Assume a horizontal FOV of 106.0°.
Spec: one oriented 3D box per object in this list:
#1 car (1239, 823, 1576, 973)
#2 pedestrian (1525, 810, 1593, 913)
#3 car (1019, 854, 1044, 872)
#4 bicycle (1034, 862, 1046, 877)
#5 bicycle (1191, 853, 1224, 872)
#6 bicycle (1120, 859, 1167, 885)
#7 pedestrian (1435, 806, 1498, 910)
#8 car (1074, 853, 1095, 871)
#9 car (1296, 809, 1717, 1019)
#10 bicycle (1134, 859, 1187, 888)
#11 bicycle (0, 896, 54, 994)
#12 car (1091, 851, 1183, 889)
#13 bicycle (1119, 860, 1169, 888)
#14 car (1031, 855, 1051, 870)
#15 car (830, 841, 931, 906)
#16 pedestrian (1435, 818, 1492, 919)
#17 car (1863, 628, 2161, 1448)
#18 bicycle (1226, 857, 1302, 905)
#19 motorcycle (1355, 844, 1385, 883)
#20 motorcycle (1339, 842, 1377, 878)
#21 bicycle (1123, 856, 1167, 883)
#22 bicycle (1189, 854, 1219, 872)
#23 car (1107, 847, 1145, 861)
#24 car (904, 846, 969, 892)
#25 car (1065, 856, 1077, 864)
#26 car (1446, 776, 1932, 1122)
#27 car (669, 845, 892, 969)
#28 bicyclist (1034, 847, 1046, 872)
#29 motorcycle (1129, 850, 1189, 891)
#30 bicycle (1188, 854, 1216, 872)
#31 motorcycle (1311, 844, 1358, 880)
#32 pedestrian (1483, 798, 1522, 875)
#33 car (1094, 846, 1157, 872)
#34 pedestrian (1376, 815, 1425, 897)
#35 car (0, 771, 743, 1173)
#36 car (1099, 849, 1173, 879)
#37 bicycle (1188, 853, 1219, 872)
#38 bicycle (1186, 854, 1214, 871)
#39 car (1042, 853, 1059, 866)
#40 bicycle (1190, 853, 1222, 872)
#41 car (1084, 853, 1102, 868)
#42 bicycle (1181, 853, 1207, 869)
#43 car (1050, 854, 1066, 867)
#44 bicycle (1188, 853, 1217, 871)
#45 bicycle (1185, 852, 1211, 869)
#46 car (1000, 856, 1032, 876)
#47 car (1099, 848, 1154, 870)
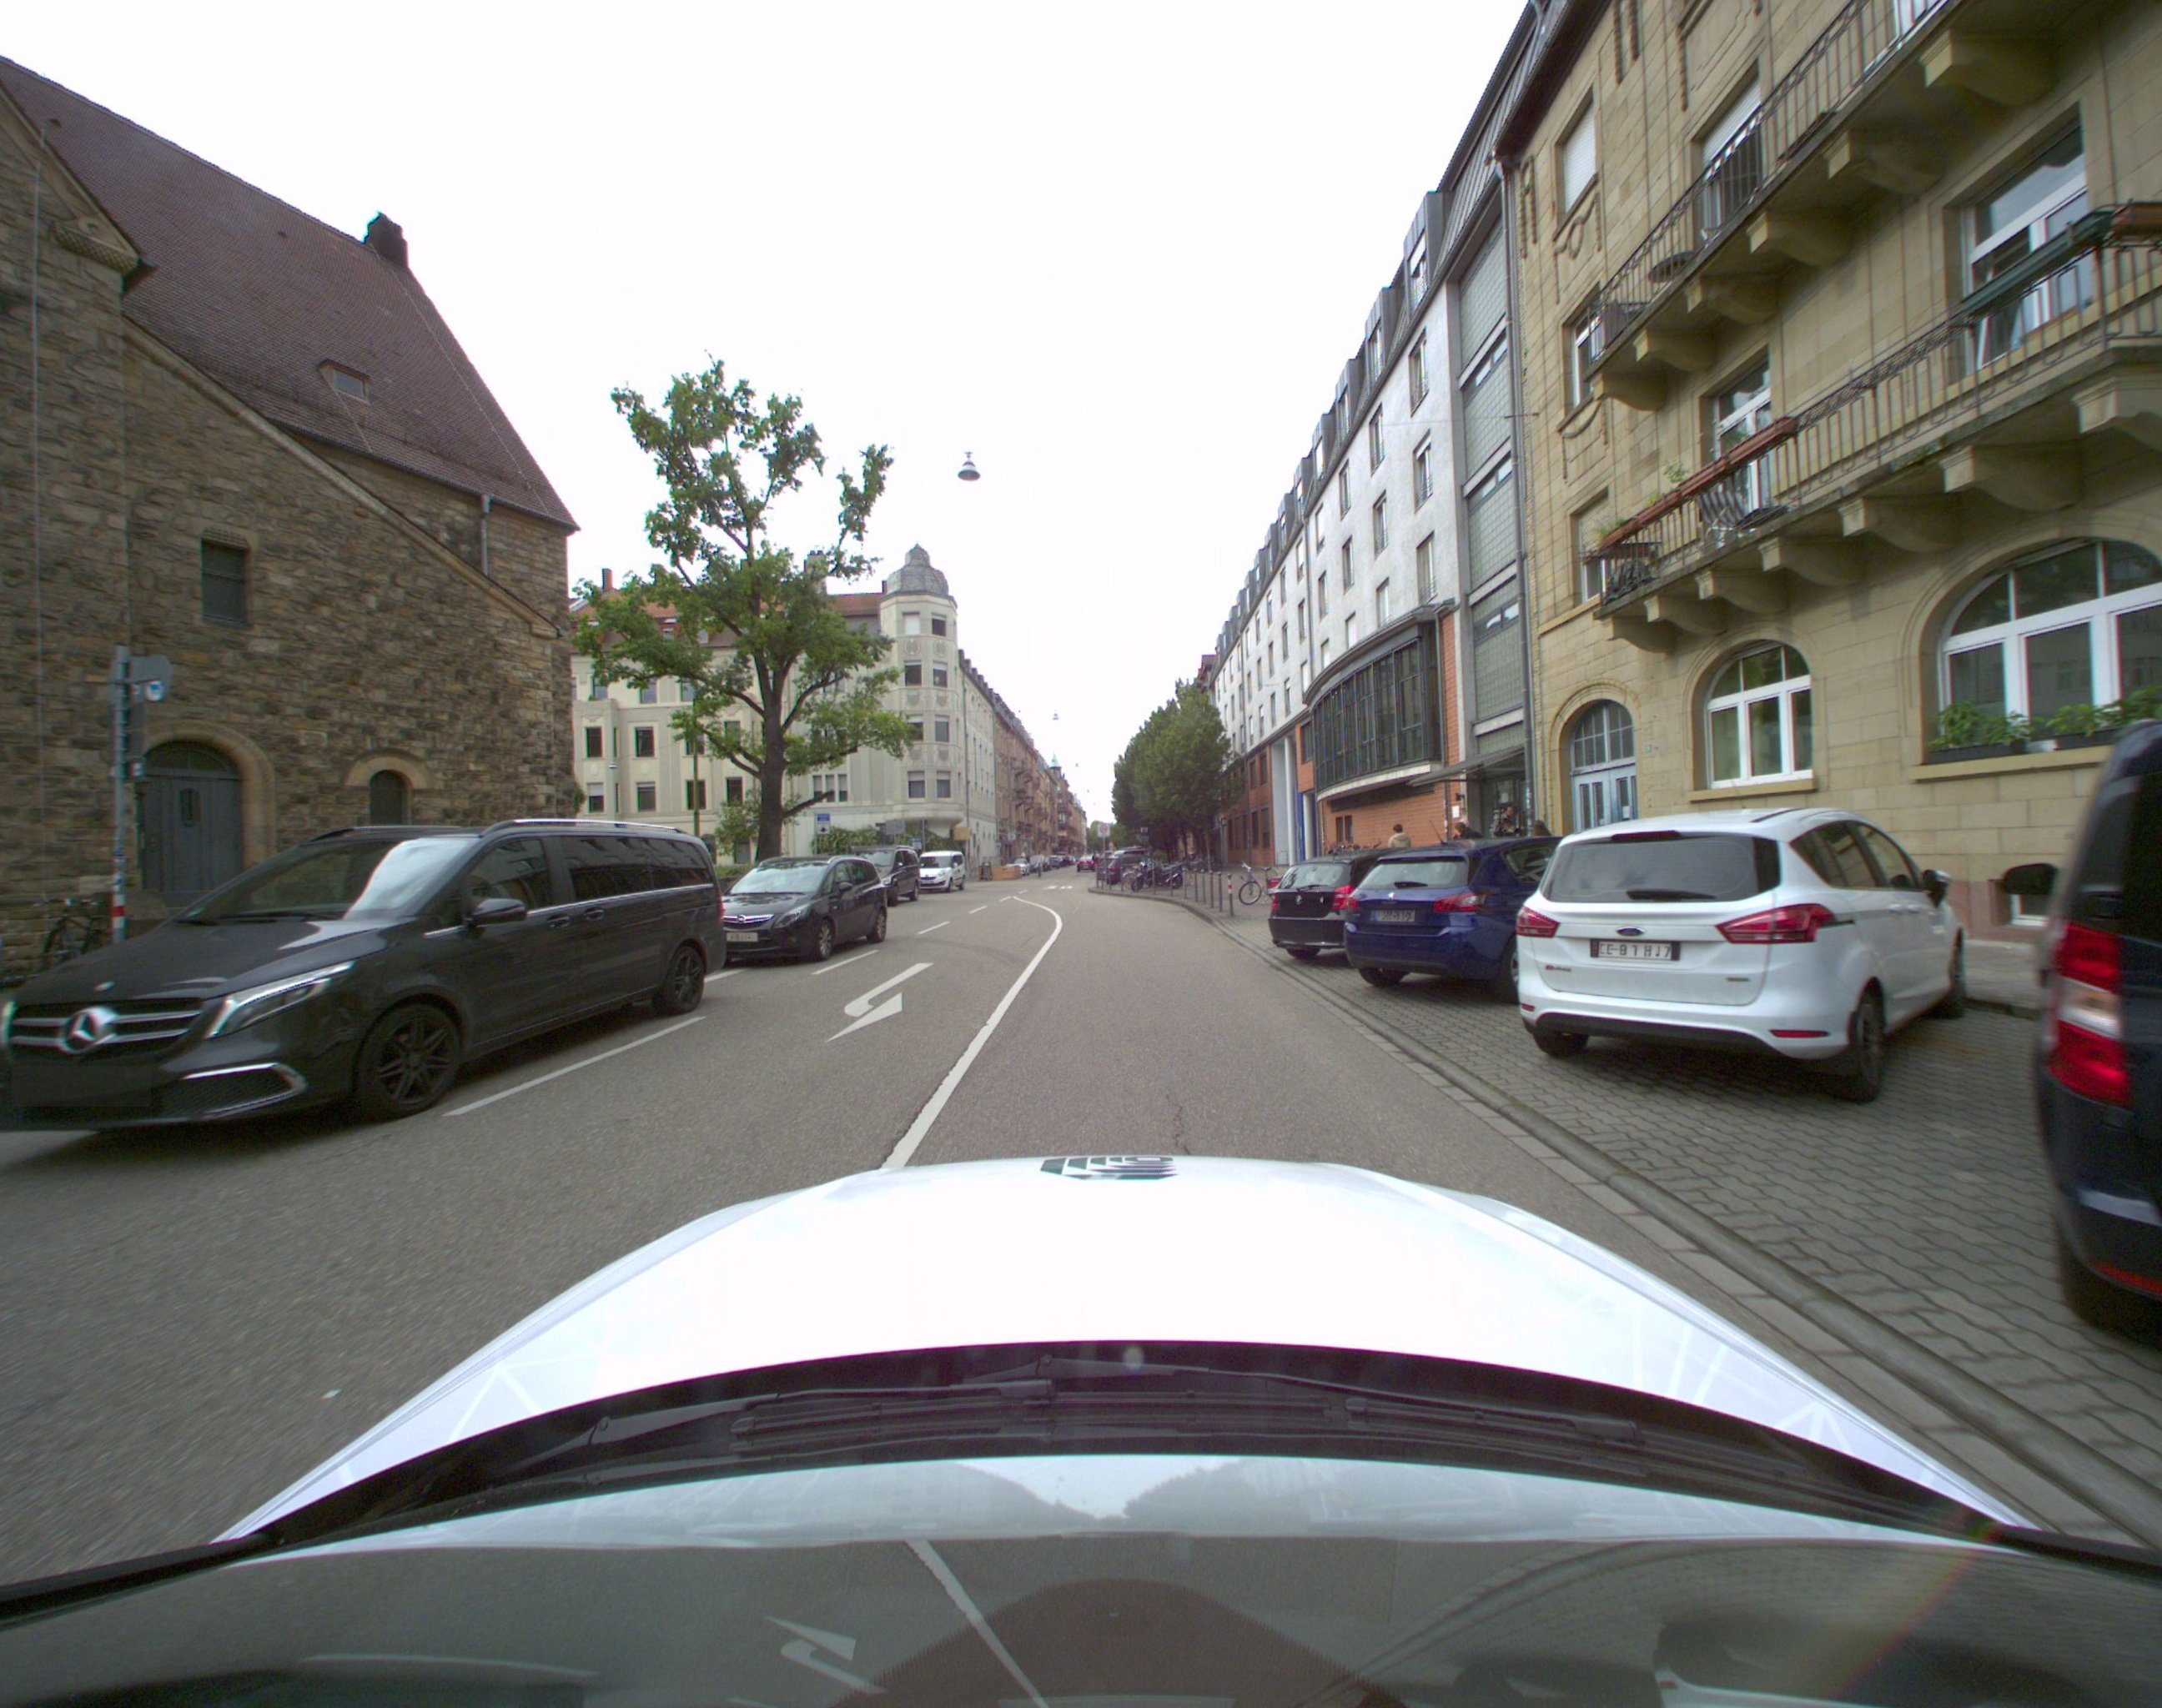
[{"bbox_3d":[4.479,0.499,11.150,4.265,1.478,1.672,-5,1,-23],"label":"car"},{"bbox_3d":[7.399,0.120,12.625,0.517,1.510,0.716,-3,-2,-1],"label":"pedestrian"},{"bbox_3d":[-4.700,0.837,77.955,1.936,1.617,3.944,-1,-1,2],"label":"car"},{"bbox_3d":[-3.042,1.146,60.545,0.565,1.087,1.988,-2,0,4],"label":"bicycle"},{"bbox_3d":[7.678,0.526,49.525,1.926,1.092,0.577,-1,-2,1],"label":"bicycle"},{"bbox_3d":[2.665,0.769,34.873,1.878,1.043,0.611,-3,-2,-2],"label":"bicycle"},{"bbox_3d":[7.002,0.079,14.822,0.665,1.798,0.716,-3,-2,-1],"label":"pedestrian"},{"bbox_3d":[0.344,0.820,81.618,1.986,1.681,4.000,-1,-1,1],"label":"car"},{"bbox_3d":[4.497,0.464,8.565,4.010,1.533,1.915,-5,1,-27],"label":"car"},{"bbox_3d":[3.143,0.769,32.439,2.003,1.062,0.611,-3,-2,-2],"label":"bicycle"},{"bbox_3d":[-13.899,1.136,10.117,1.765,1.166,0.744,-2,0,14],"label":"bicycle"},{"bbox_3d":[2.858,0.811,41.203,4.302,1.578,1.845,-4,0,-31],"label":"car"},{"bbox_3d":[2.573,0.808,33.238,1.923,1.043,0.611,-3,-2,-2],"label":"bicycle"},{"bbox_3d":[-4.380,0.957,90.082,1.937,1.617,3.943,-1,-1,1],"label":"car"},{"bbox_3d":[-6.766,0.607,28.152,2.006,2.014,5.185,-1,0,2],"label":"car"},{"bbox_3d":[6.566,0.245,13.994,0.517,1.662,0.716,-3,-2,-1],"label":"pedestrian"},{"bbox_3d":[4.436,0.270,2.872,4.305,1.906,1.858,-5,1,-39],"label":"car"},{"bbox_3d":[4.560,0.683,20.415,0.734,1.104,1.716,-3,0,-39],"label":"bicycle"},{"bbox_3d":[9.040,0.271,25.435,0.595,1.144,1.893,-3,-1,27],"label":"motorcycle"},{"bbox_3d":[9.365,0.209,27.598,0.599,1.144,2.071,-3,0,2],"label":"motorcycle"},{"bbox_3d":[2.898,0.707,36.965,1.878,1.141,0.611,-3,-2,-2],"label":"bicycle"},{"bbox_3d":[7.817,0.550,51.734,1.829,1.092,0.565,-1,-2,1],"label":"bicycle"},{"bbox_3d":[6.755,-0.060,122.808,5.417,1.868,1.933,-3,-1,-28],"label":"car"},{"bbox_3d":[-6.517,0.643,37.310,1.835,1.939,4.553,-1,0,4],"label":"car"},{"bbox_3d":[-1.816,1.033,144.036,1.988,1.321,3.997,-1,-1,-1],"label":"car"},{"bbox_3d":[4.538,0.371,5.852,4.020,1.601,1.745,-6,1,-38],"label":"car"},{"bbox_3d":[-4.730,0.735,13.663,1.837,1.684,4.551,-1,0,3],"label":"car"},{"bbox_3d":[-3.069,0.388,60.920,0.778,1.866,0.715,-2,0,4],"label":"bicyclist"},{"bbox_3d":[2.957,0.623,31.107,2.128,1.429,0.770,-3,-2,-2],"label":"motorcycle"},{"bbox_3d":[7.871,0.576,53.146,1.746,1.092,0.565,-1,-2,1],"label":"bicycle"},{"bbox_3d":[9.274,0.279,29.889,1.024,1.202,2.210,-3,0,2],"label":"motorcycle"},{"bbox_3d":[9.445,-0.385,18.261,0.505,1.689,0.628,-1,-2,1],"label":"pedestrian"},{"bbox_3d":[4.153,0.454,74.836,5.646,2.127,1.930,-2,-1,-32],"label":"car"},{"bbox_3d":[7.155,0.047,18.254,0.628,1.753,0.811,-5,0,-1],"label":"pedestrian"},{"bbox_3d":[-4.953,0.586,6.667,1.904,1.954,5.287,-1,0,3],"label":"car"},{"bbox_3d":[3.343,0.605,49.431,4.072,1.585,1.885,-2,-1,-29],"label":"car"},{"bbox_3d":[7.669,0.544,50.942,1.829,1.092,0.543,-1,-2,1],"label":"bicycle"},{"bbox_3d":[7.837,0.549,53.754,1.746,1.092,0.565,-1,-2,1],"label":"bicycle"},{"bbox_3d":[-3.987,0.759,106.671,1.937,1.617,3.943,-1,-1,1],"label":"car"},{"bbox_3d":[7.695,0.519,50.132,1.888,1.092,0.543,-1,-2,1],"label":"bicycle"},{"bbox_3d":[1.454,0.802,95.451,1.986,1.681,4.000,-1,-1,1],"label":"car"},{"bbox_3d":[8.042,0.474,57.984,1.746,1.092,0.565,-1,-2,1],"label":"bicycle"},{"bbox_3d":[-3.166,0.886,111.505,1.936,1.742,3.944,-1,-1,2],"label":"car"},{"bbox_3d":[7.806,0.532,52.365,1.746,1.092,0.565,-1,-2,1],"label":"bicycle"},{"bbox_3d":[8.233,0.453,57.317,1.746,1.092,0.565,-1,-2,1],"label":"bicycle"},{"bbox_3d":[-5.291,0.956,66.618,1.935,1.553,3.822,-3,-1,5],"label":"car"},{"bbox_3d":[4.693,0.492,82.927,5.423,1.992,1.930,-2,-1,-32],"label":"car"}]
